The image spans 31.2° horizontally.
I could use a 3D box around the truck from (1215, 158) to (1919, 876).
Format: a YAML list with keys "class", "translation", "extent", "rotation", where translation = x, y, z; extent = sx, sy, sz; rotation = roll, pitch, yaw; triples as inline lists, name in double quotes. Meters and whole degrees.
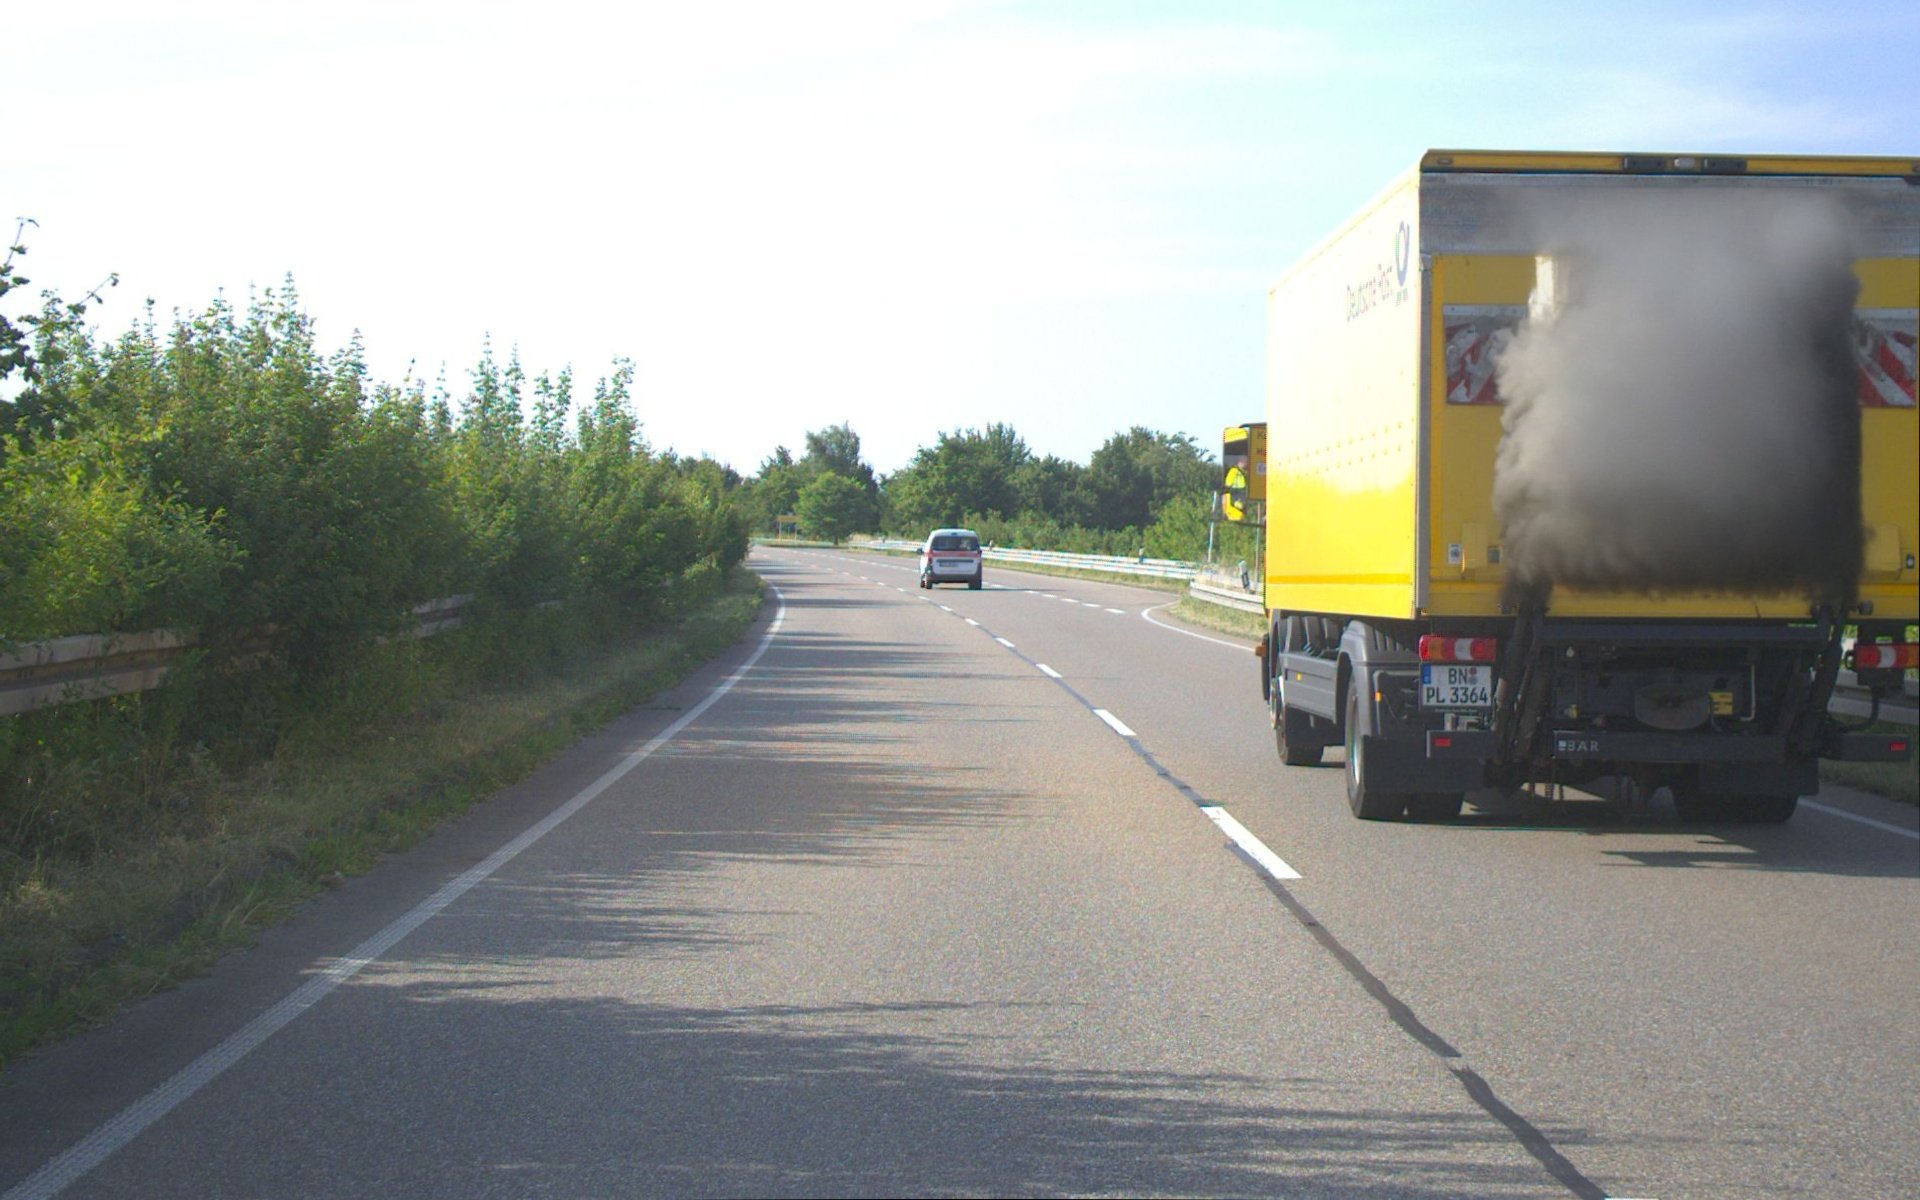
- class: "truck"
  translation: [3.421, -0.504, 21.314]
  extent: [2.778, 3.305, 10.490]
  rotation: [1, 1, 0]

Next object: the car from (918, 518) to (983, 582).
- class: "car"
  translation: [-0.298, -1.513, 104.121]
  extent: [1.765, 1.875, 4.000]
  rotation: [1, 1, -3]
